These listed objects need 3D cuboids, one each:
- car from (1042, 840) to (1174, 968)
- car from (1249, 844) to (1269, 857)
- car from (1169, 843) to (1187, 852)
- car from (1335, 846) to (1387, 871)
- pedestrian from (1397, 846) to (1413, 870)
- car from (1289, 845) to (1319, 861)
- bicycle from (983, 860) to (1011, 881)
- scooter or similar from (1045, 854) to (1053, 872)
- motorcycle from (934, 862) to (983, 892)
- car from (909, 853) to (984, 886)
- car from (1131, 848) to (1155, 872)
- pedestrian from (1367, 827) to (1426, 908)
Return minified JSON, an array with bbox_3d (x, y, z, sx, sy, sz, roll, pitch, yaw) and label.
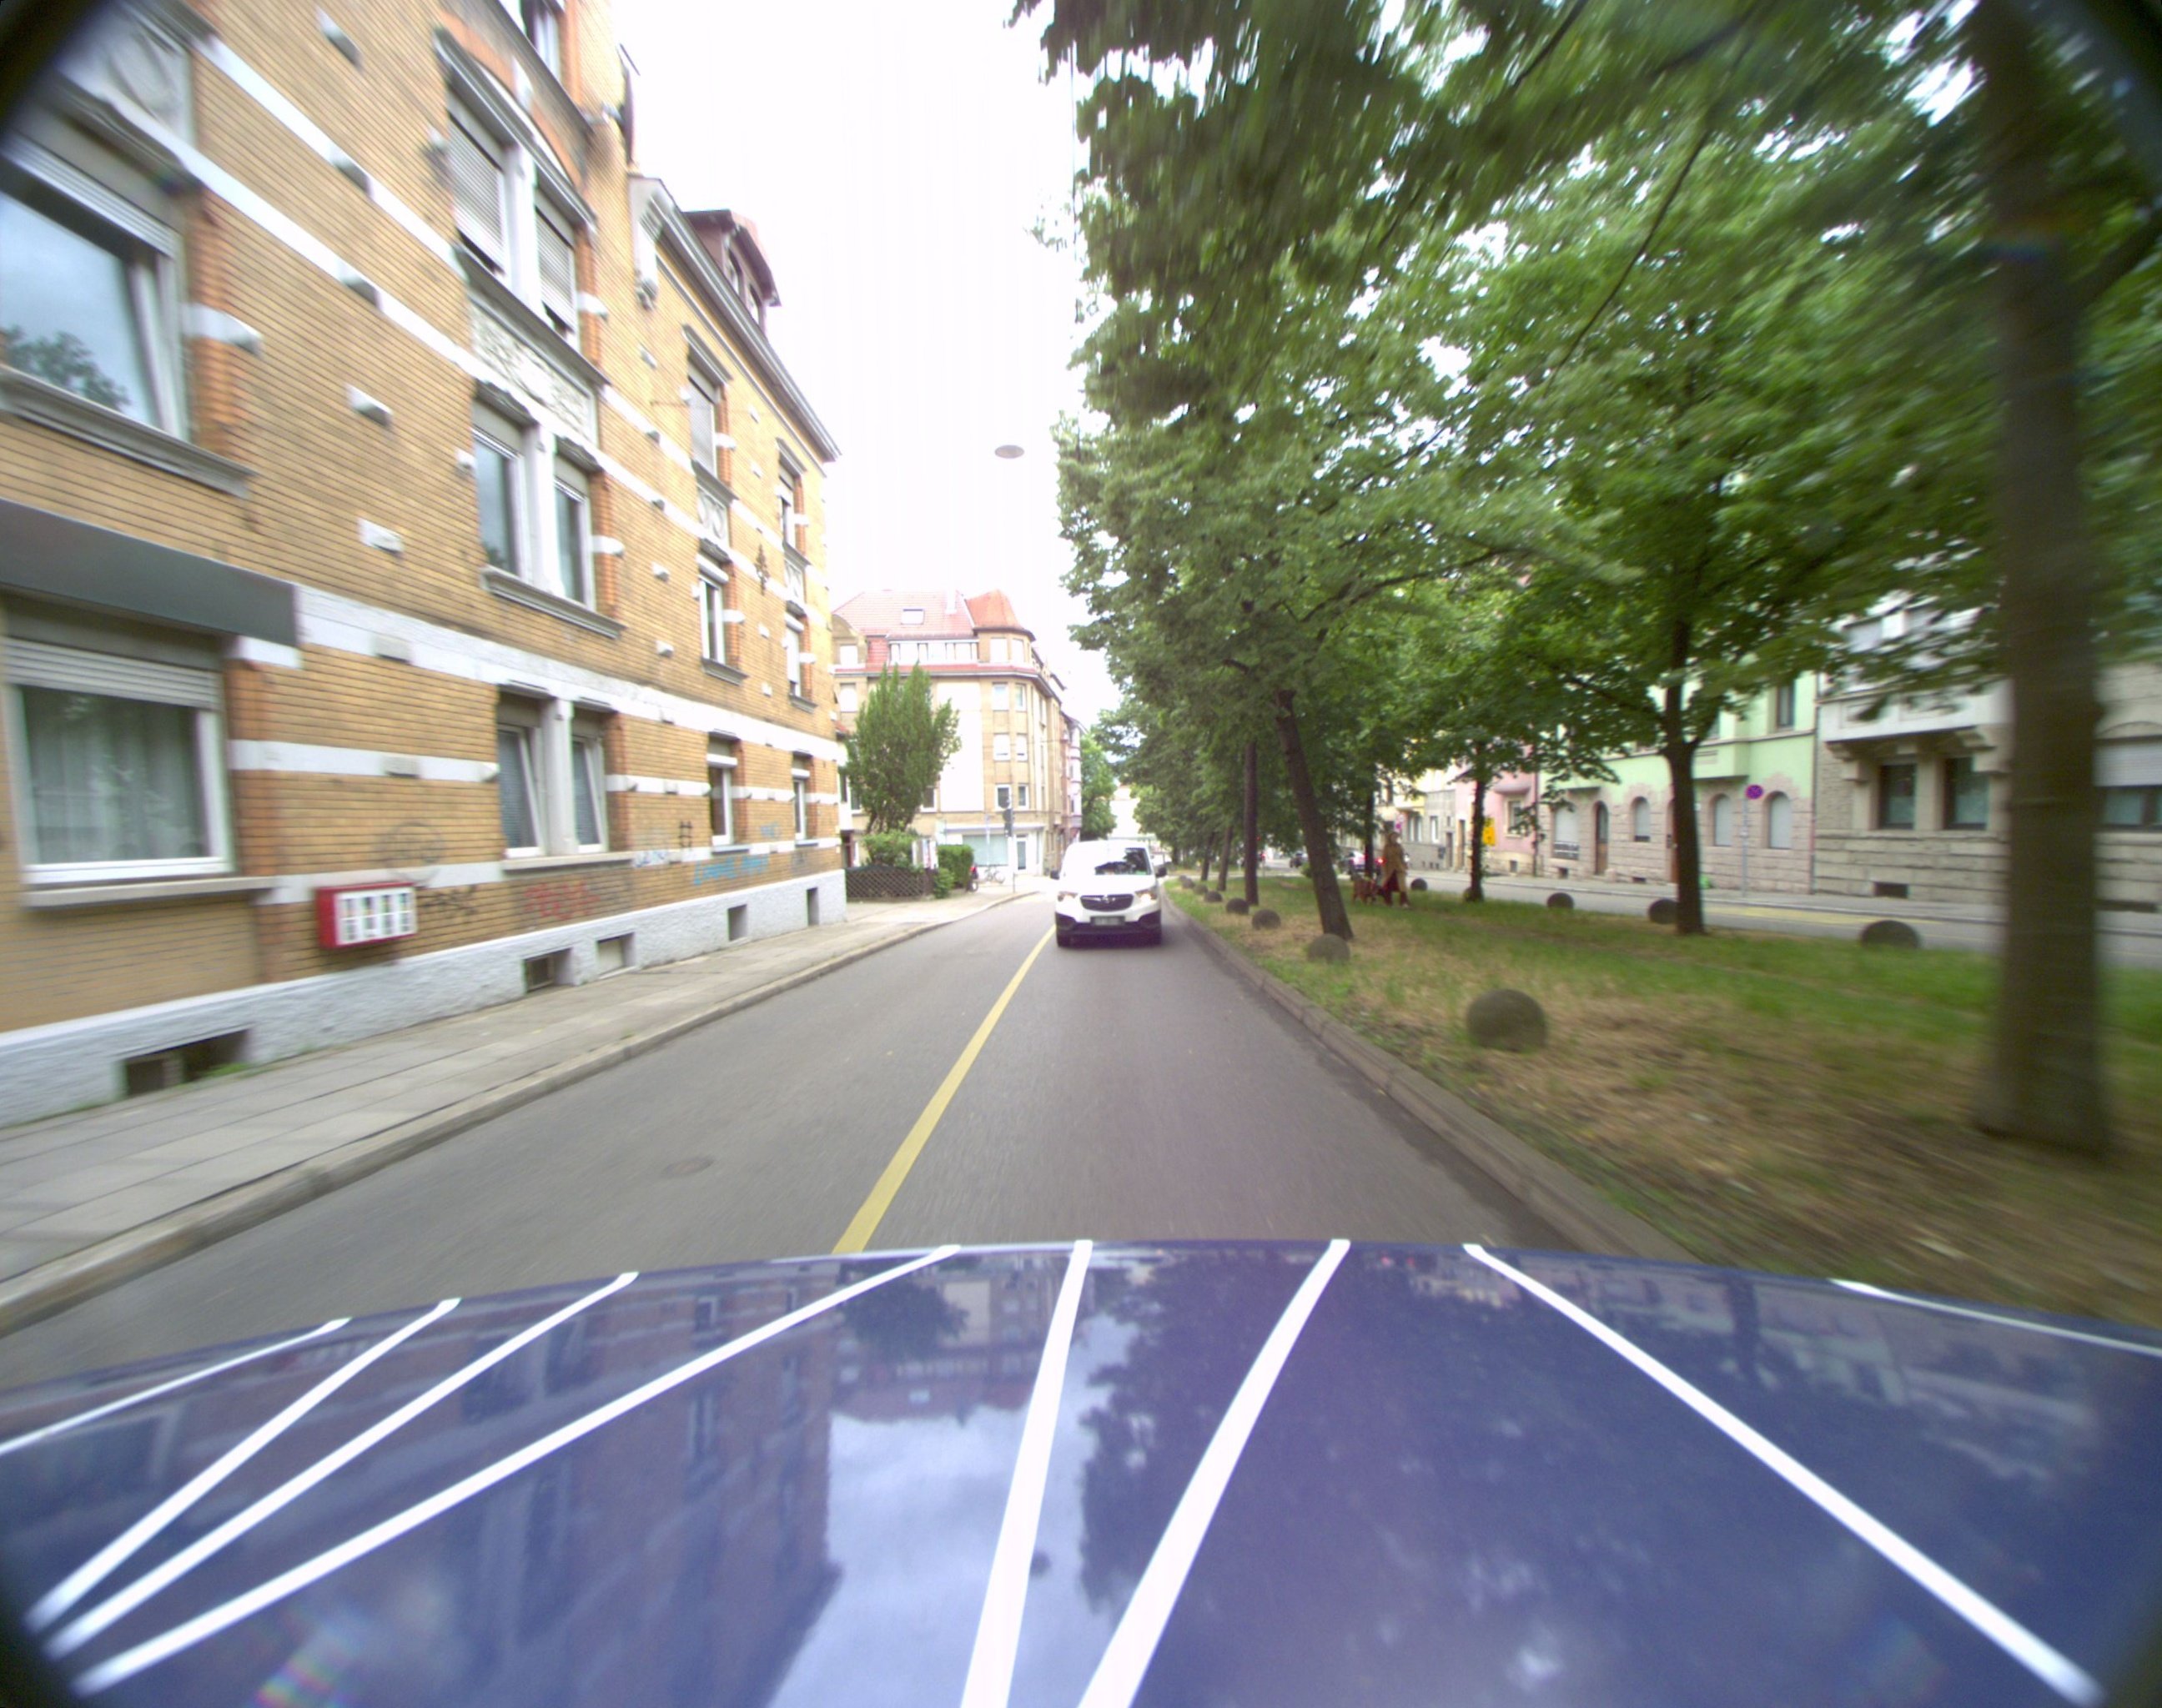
[{"bbox_3d":[0.586,0.715,13.396,1.857,1.798,4.730,-2,0,5],"label":"car"},{"bbox_3d":[22.991,-0.510,98.287,1.820,1.627,4.679,0,1,4],"label":"car"},{"bbox_3d":[20.189,-1.340,158.204,2.207,1.563,4.483,-1,3,27],"label":"car"},{"bbox_3d":[16.321,0.257,44.485,1.762,1.374,4.671,0,0,6],"label":"car"},{"bbox_3d":[19.906,0.253,46.657,0.700,1.452,0.704,-2,0,6],"label":"pedestrian"},{"bbox_3d":[19.662,-0.060,67.068,1.712,1.374,4.671,0,0,6],"label":"car"},{"bbox_3d":[-5.296,1.001,47.755,0.642,1.134,2.068,-7,7,-38],"label":"bicycle"},{"bbox_3d":[-2.249,0.661,53.663,0.411,1.202,1.146,1,-2,5],"label":"scooter or similar"},{"bbox_3d":[-5.719,1.075,35.553,2.060,1.260,1.010,-3,0,1],"label":"motorcycle"},{"bbox_3d":[-8.255,0.932,47.070,4.376,1.638,1.784,-3,5,-6],"label":"car"},{"bbox_3d":[5.727,0.495,70.185,1.963,1.938,3.956,-2,2,3],"label":"car"},{"bbox_3d":[6.999,0.268,16.904,0.835,1.703,1.123,2,3,5],"label":"pedestrian"}]
